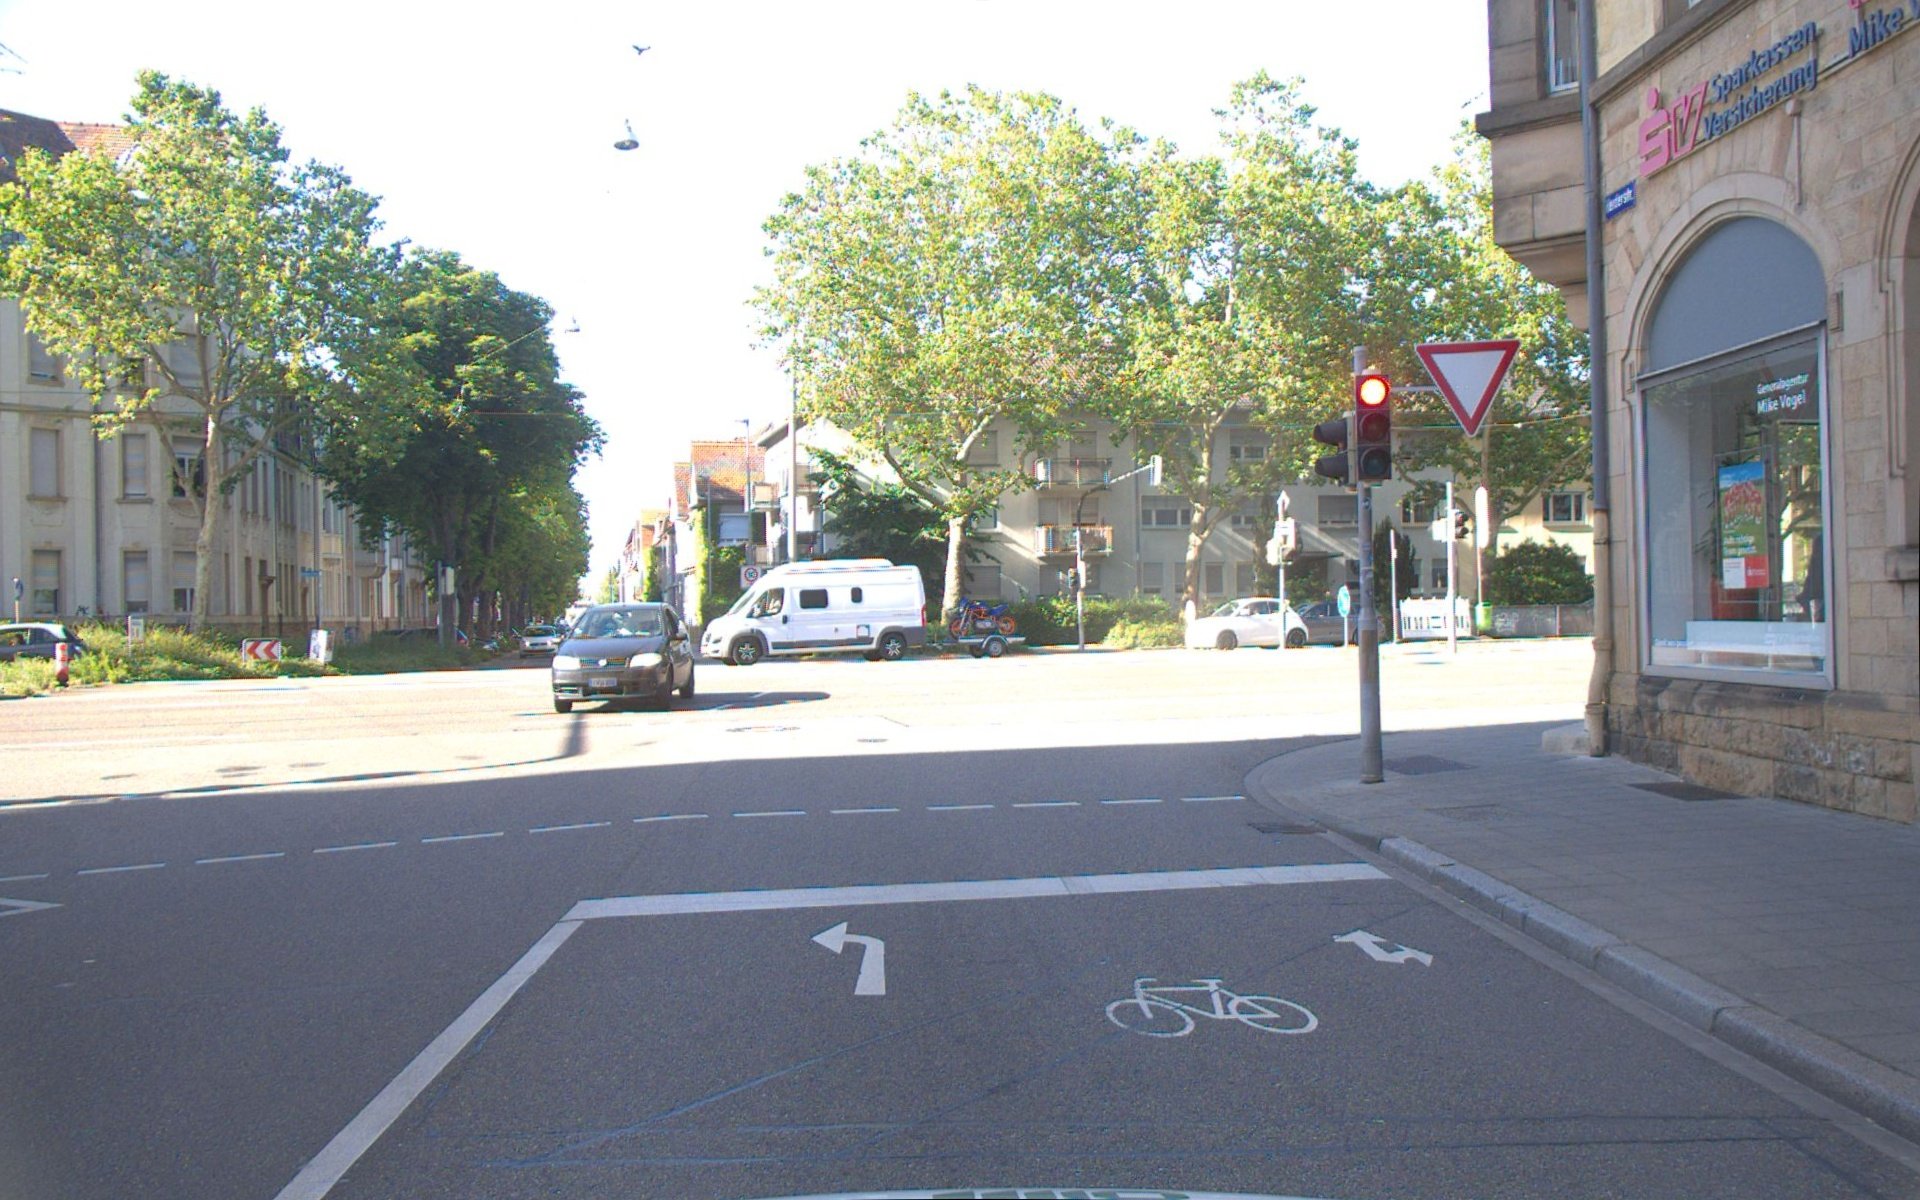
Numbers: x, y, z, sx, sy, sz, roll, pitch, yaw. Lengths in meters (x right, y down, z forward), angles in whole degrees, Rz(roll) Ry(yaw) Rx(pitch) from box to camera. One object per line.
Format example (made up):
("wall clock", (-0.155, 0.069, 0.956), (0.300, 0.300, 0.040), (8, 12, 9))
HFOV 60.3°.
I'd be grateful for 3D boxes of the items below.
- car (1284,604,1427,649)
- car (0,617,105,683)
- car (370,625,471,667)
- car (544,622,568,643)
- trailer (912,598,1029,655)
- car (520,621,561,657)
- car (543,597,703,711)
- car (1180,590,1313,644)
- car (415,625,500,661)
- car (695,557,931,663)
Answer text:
("car", (12.730, 0.839, 53.238), (4.323, 1.339, 1.636), (-1, 0, -21))
("car", (-22.335, 1.172, 39.119), (3.581, 1.483, 1.646), (-1, 0, -22))
("car", (-20.448, 1.740, 62.800), (3.572, 1.483, 1.650), (-1, 0, -16))
("car", (-31.839, 2.583, 130.498), (1.669, 1.509, 3.523), (-3, 1, -12))
("trailer", (0.275, 0.726, 45.857), (2.904, 1.483, 1.505), (-1, 0, -20))
("car", (-19.423, 1.792, 76.684), (1.669, 1.509, 3.523), (-3, 1, -12))
("car", (-4.752, 0.719, 23.750), (1.619, 1.483, 3.642), (-1, 0, -2))
("car", (8.369, 0.490, 48.331), (3.579, 1.483, 1.494), (-1, 0, -21))
("car", (-22.423, 1.926, 73.909), (3.572, 1.483, 1.650), (-1, 0, -16))
("car", (-3.925, 0.231, 44.200), (6.017, 2.683, 1.885), (-1, 0, -20))
